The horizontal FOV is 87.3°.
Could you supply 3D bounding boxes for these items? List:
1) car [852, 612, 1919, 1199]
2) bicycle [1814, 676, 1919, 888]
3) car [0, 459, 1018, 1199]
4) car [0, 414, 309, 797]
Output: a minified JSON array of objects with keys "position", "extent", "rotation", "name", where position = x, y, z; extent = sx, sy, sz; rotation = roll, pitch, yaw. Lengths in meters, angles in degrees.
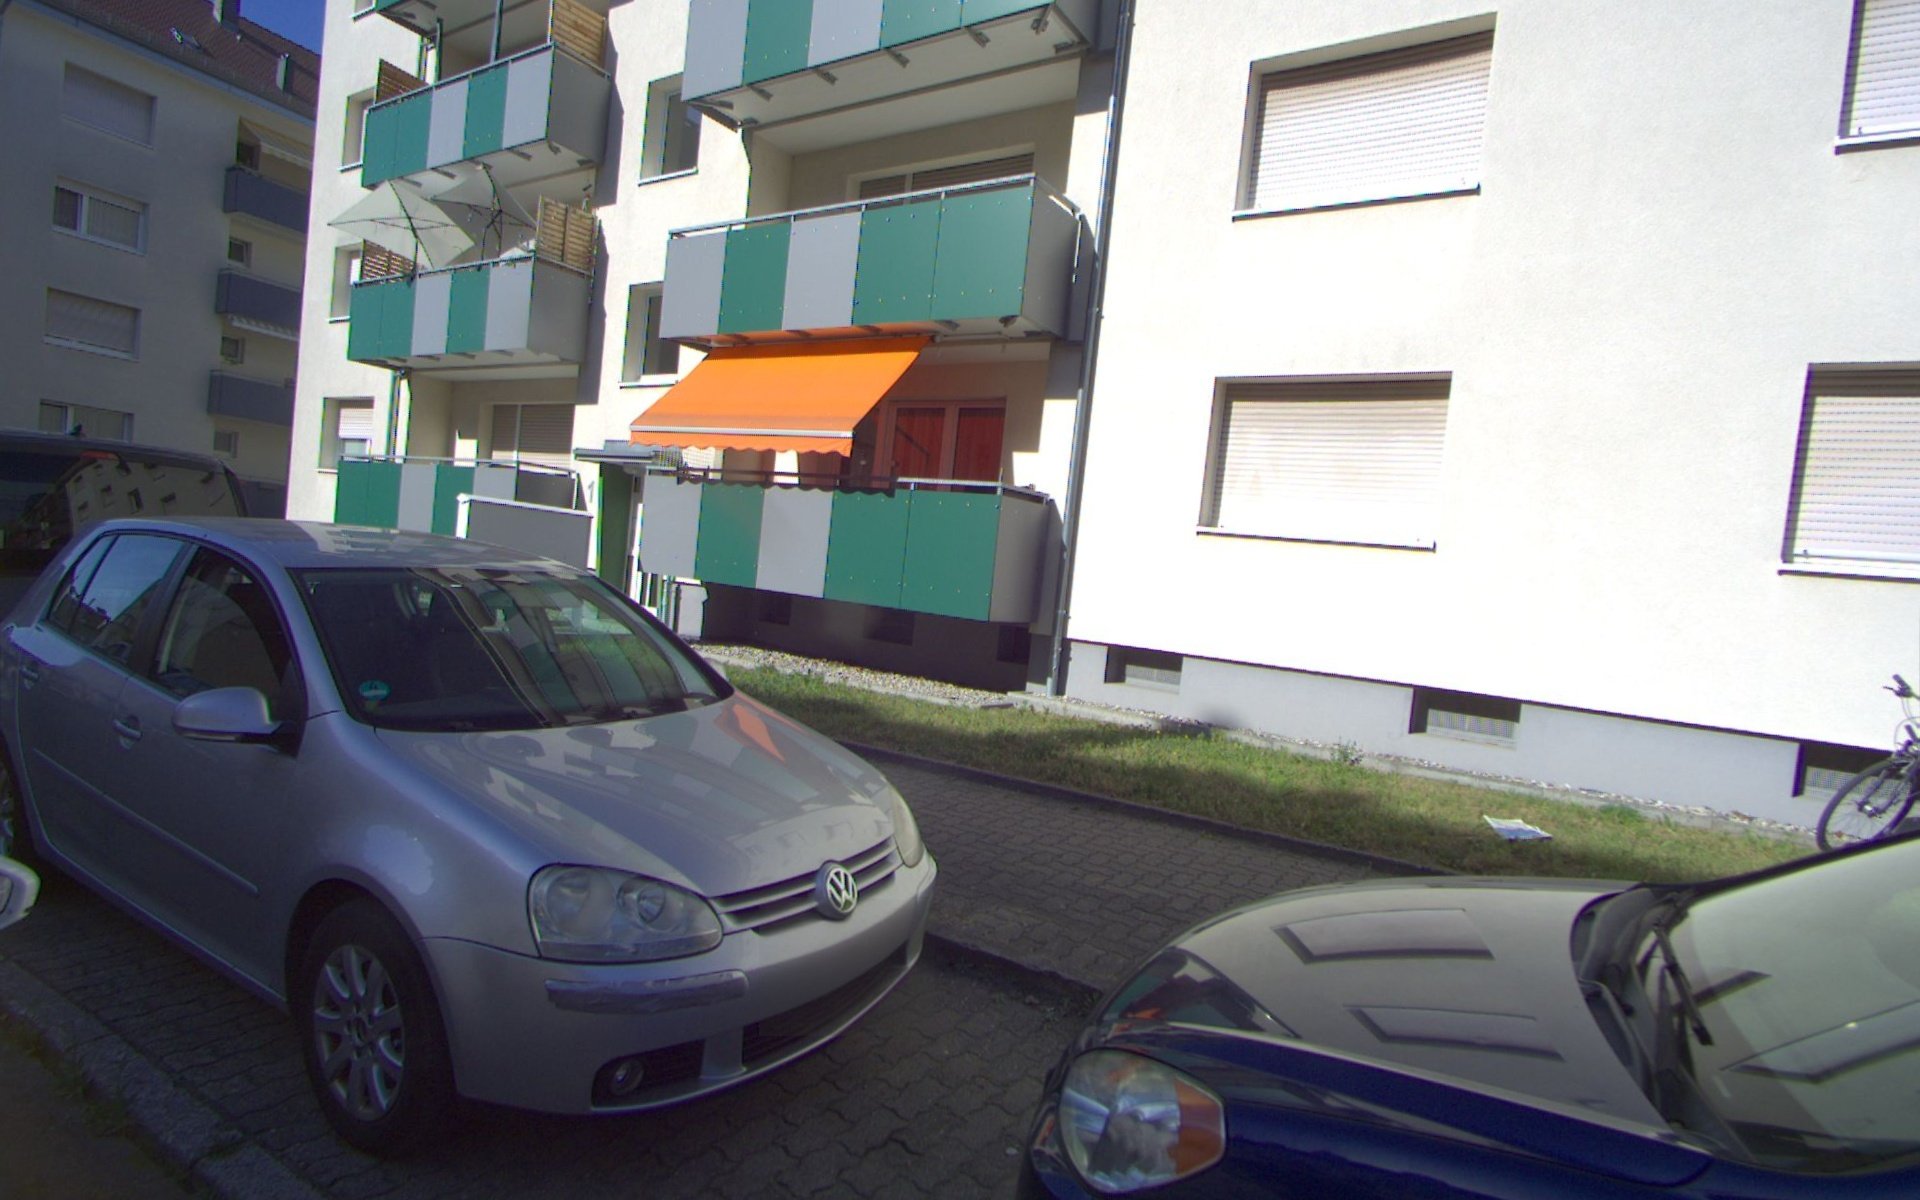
[{"position":[2.095,0.944,1.276],"extent":[4.284,1.451,1.737],"rotation":[6,3,32],"name":"car"},{"position":[5.985,1.120,5.584],"extent":[1.705,1.084,0.648],"rotation":[8,7,34],"name":"bicycle"},{"position":[-1.984,0.443,3.672],"extent":[3.945,1.609,1.682],"rotation":[7,3,31],"name":"car"},{"position":[-6.339,-0.125,6.342],"extent":[4.269,1.880,1.898],"rotation":[6,2,29],"name":"car"}]
